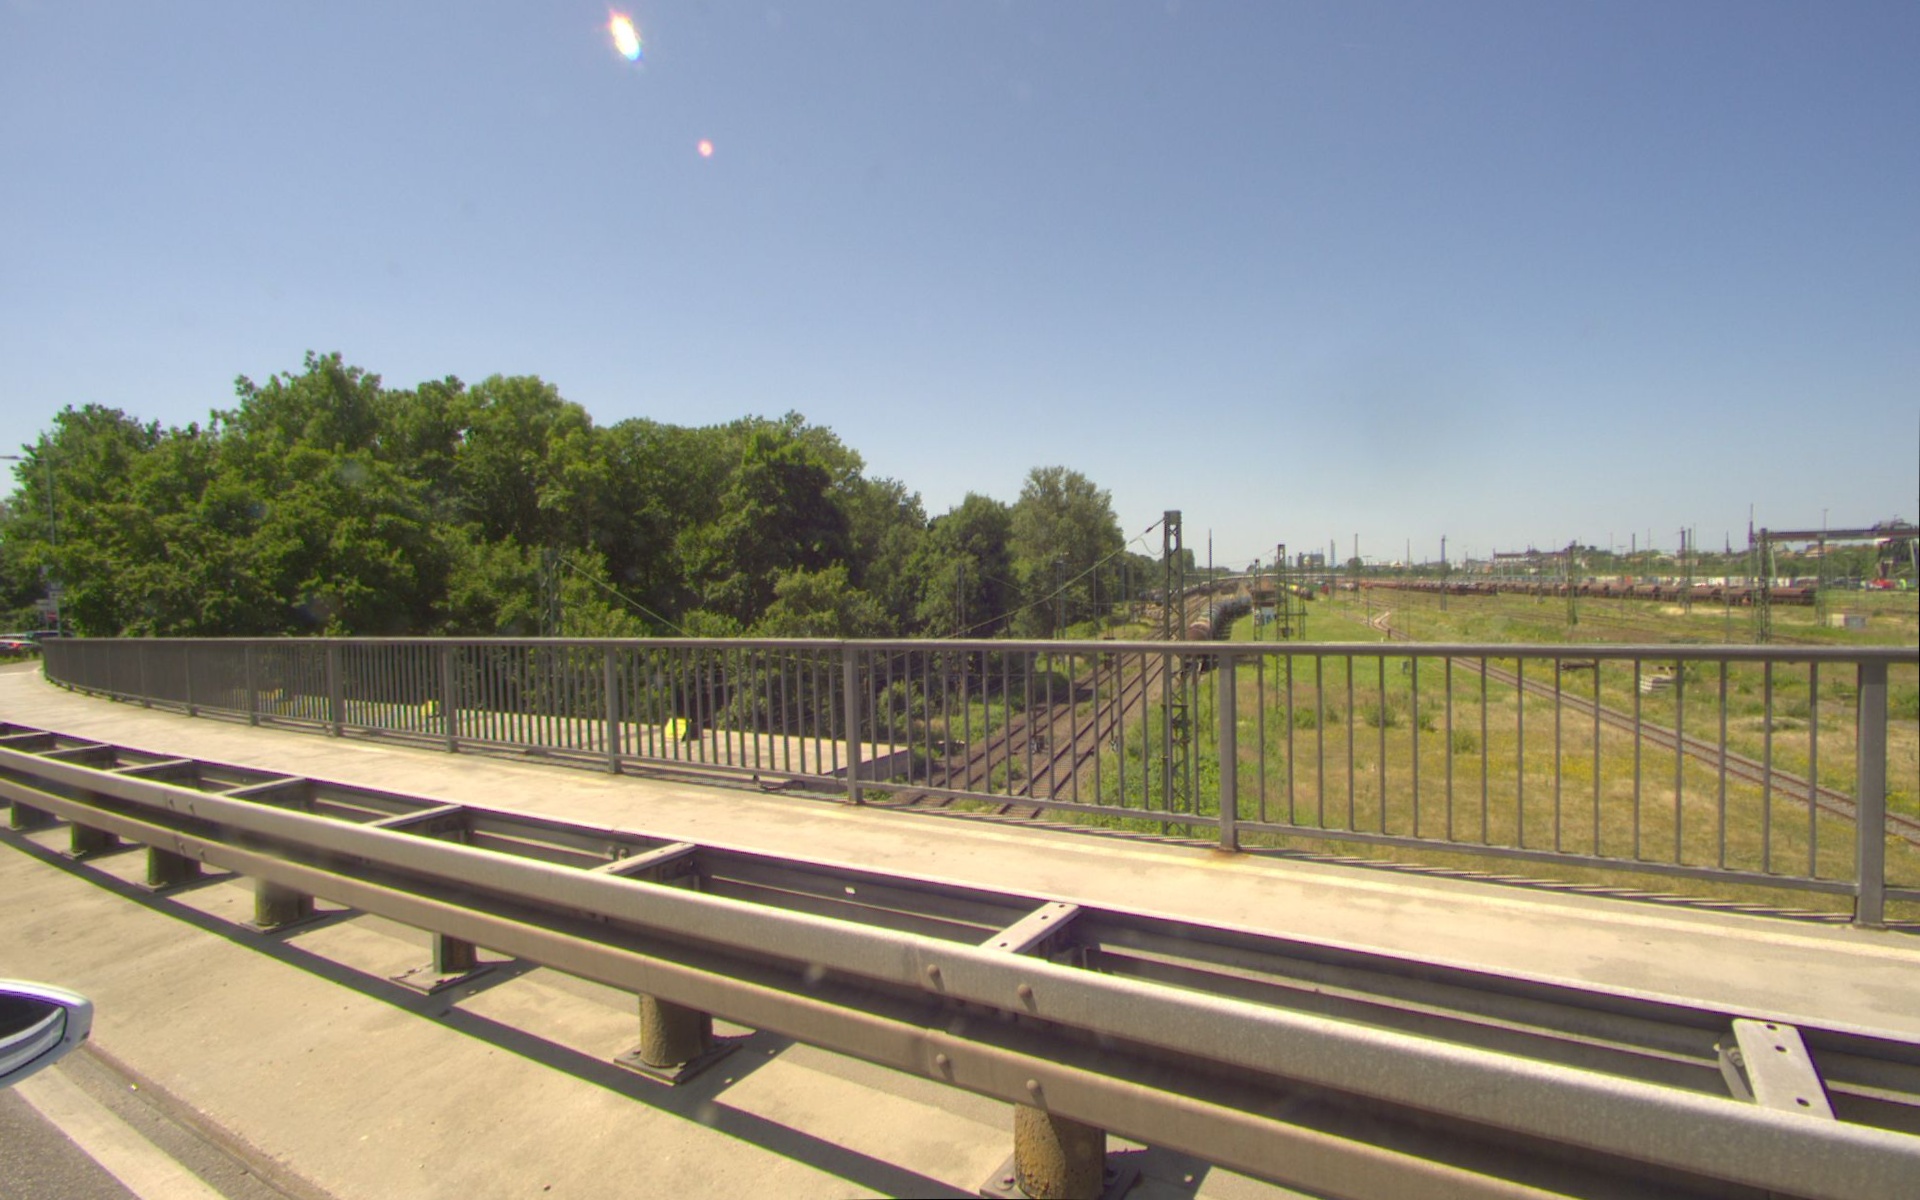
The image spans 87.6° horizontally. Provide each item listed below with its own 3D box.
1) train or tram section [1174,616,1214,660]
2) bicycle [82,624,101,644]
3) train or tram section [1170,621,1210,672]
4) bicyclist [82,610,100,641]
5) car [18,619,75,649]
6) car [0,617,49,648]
[{"bbox_3d":[28.202,4.444,120.149,3.783,4.366,13.605,-2,1,17],"label":"train or tram section"},{"bbox_3d":[-48.866,1.911,56.332,1.468,1.049,0.578,-1,2,42],"label":"bicycle"},{"bbox_3d":[24.654,4.834,106.967,3.781,4.366,13.612,-2,1,14],"label":"train or tram section"},{"bbox_3d":[-48.871,1.407,56.307,0.721,1.706,0.574,0,2,42],"label":"bicyclist"},{"bbox_3d":[-56.312,2.116,61.800,1.666,1.783,3.982,0,-2,-29],"label":"car"},{"bbox_3d":[-52.958,1.848,56.119,1.972,1.594,3.981,2,-4,-31],"label":"car"}]
